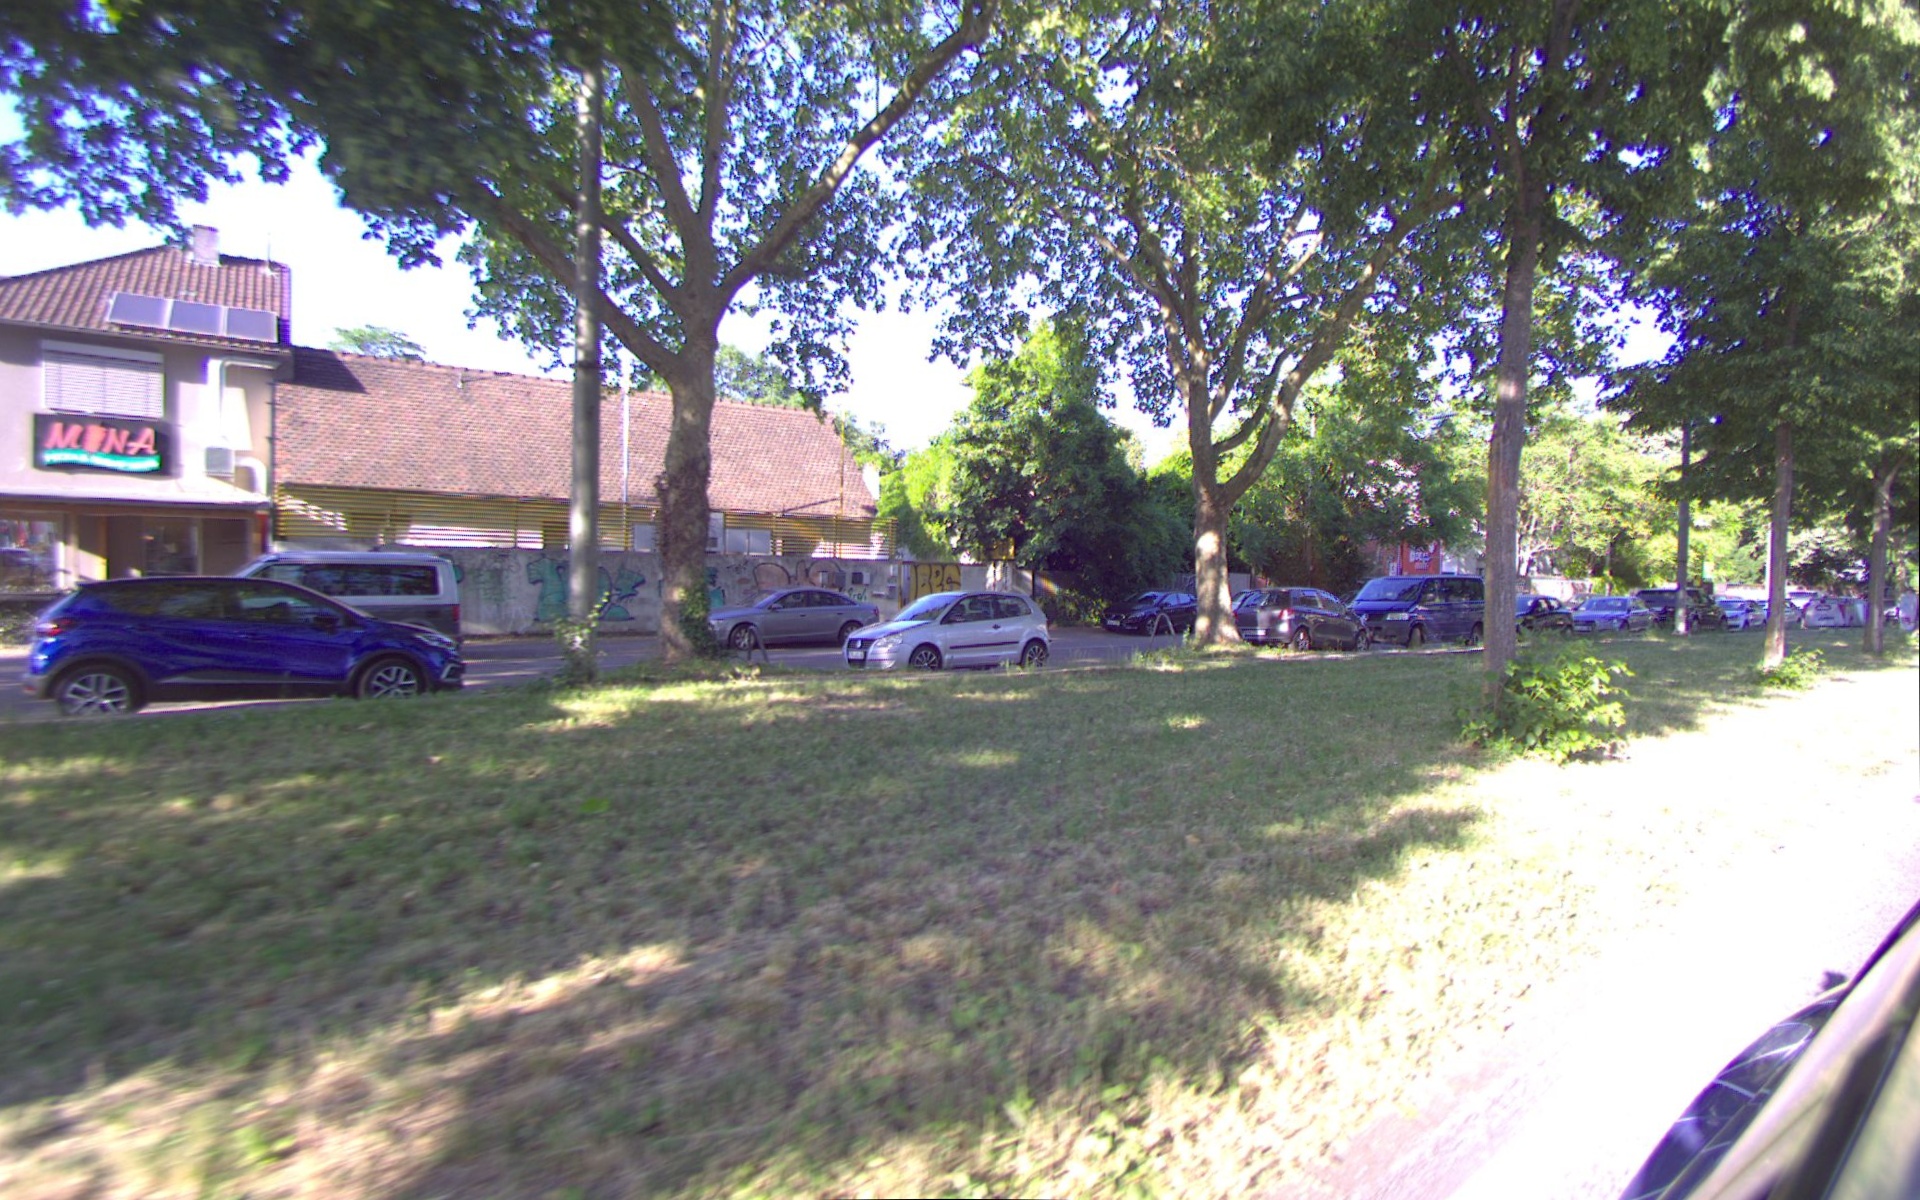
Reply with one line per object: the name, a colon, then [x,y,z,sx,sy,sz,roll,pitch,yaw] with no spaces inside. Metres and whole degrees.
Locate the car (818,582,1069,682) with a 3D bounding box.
car: [-0.209,0.460,17.214,3.978,1.504,1.897,0,1,-40]

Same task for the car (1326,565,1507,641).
car: [11.684,0.052,25.777,4.927,1.764,2.039,0,1,-36]

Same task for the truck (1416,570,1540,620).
truck: [23.342,-0.218,45.487,6.459,2.101,2.456,0,1,-37]

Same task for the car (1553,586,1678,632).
car: [21.636,0.260,33.328,4.776,1.380,1.999,0,1,-38]

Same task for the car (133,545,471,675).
car: [-11.874,0.120,18.512,4.978,2.061,1.899,0,3,-38]

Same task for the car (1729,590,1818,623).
car: [34.559,0.260,42.948,4.463,1.332,1.999,0,1,-38]

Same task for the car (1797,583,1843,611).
car: [65.130,-0.260,76.593,3.928,2.039,1.998,0,1,-39]

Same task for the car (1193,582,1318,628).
car: [10.637,0.156,36.305,4.568,1.548,1.999,0,1,-37]

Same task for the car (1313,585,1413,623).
car: [15.953,0.134,39.976,4.094,1.420,1.796,0,1,-37]

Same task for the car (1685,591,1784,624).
car: [30.294,0.268,39.558,4.036,1.226,2.000,0,1,-36]

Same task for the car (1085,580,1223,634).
car: [6.370,0.184,32.949,4.573,1.548,1.998,0,3,-41]

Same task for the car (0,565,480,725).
car: [-7.975,0.411,11.527,4.264,1.507,1.900,0,1,-36]

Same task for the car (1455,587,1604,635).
car: [16.374,0.276,29.031,4.566,1.265,2.000,0,1,-36]

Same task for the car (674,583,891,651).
car: [-4.213,0.356,24.416,4.820,1.504,1.900,0,1,-35]

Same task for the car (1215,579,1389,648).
car: [7.719,0.257,22.710,3.843,1.397,1.943,0,1,-39]

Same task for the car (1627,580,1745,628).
car: [26.049,0.119,36.271,4.565,1.616,2.000,0,1,-34]
